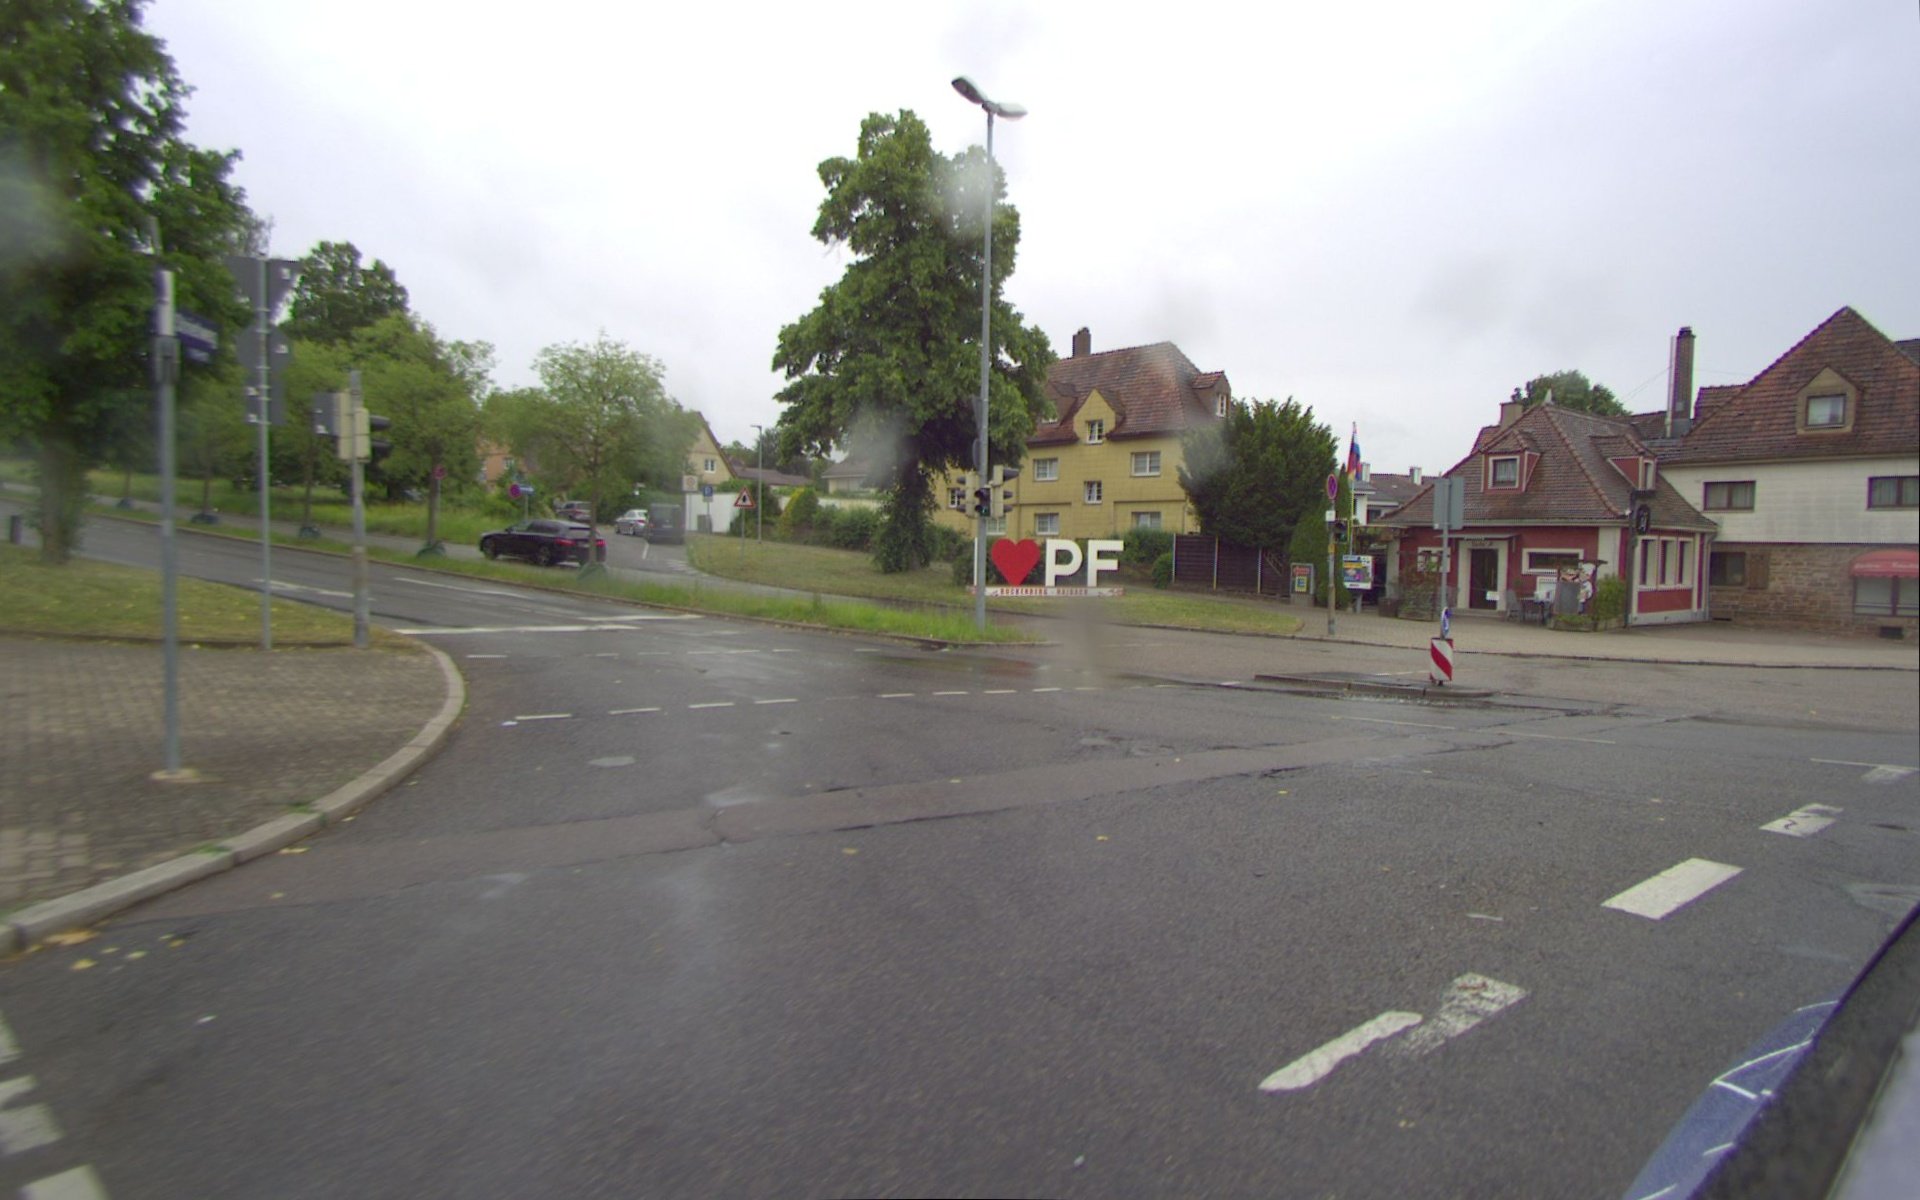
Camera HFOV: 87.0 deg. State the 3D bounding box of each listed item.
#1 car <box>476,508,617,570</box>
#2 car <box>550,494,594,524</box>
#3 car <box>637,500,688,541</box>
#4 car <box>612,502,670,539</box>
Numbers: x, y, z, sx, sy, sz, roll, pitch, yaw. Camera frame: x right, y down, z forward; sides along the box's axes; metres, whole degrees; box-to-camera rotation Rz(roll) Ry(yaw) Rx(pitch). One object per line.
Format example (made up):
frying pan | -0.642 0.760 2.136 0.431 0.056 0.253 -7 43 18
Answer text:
car | -13.932 -2.059 34.035 4.546 1.879 1.980 4 3 29
car | -27.213 -6.326 70.870 1.961 1.960 4.277 1 3 -34
car | -15.539 -4.115 52.725 1.958 1.960 4.284 1 3 -24
car | -18.244 -4.528 57.756 1.961 1.960 4.277 1 3 -34
